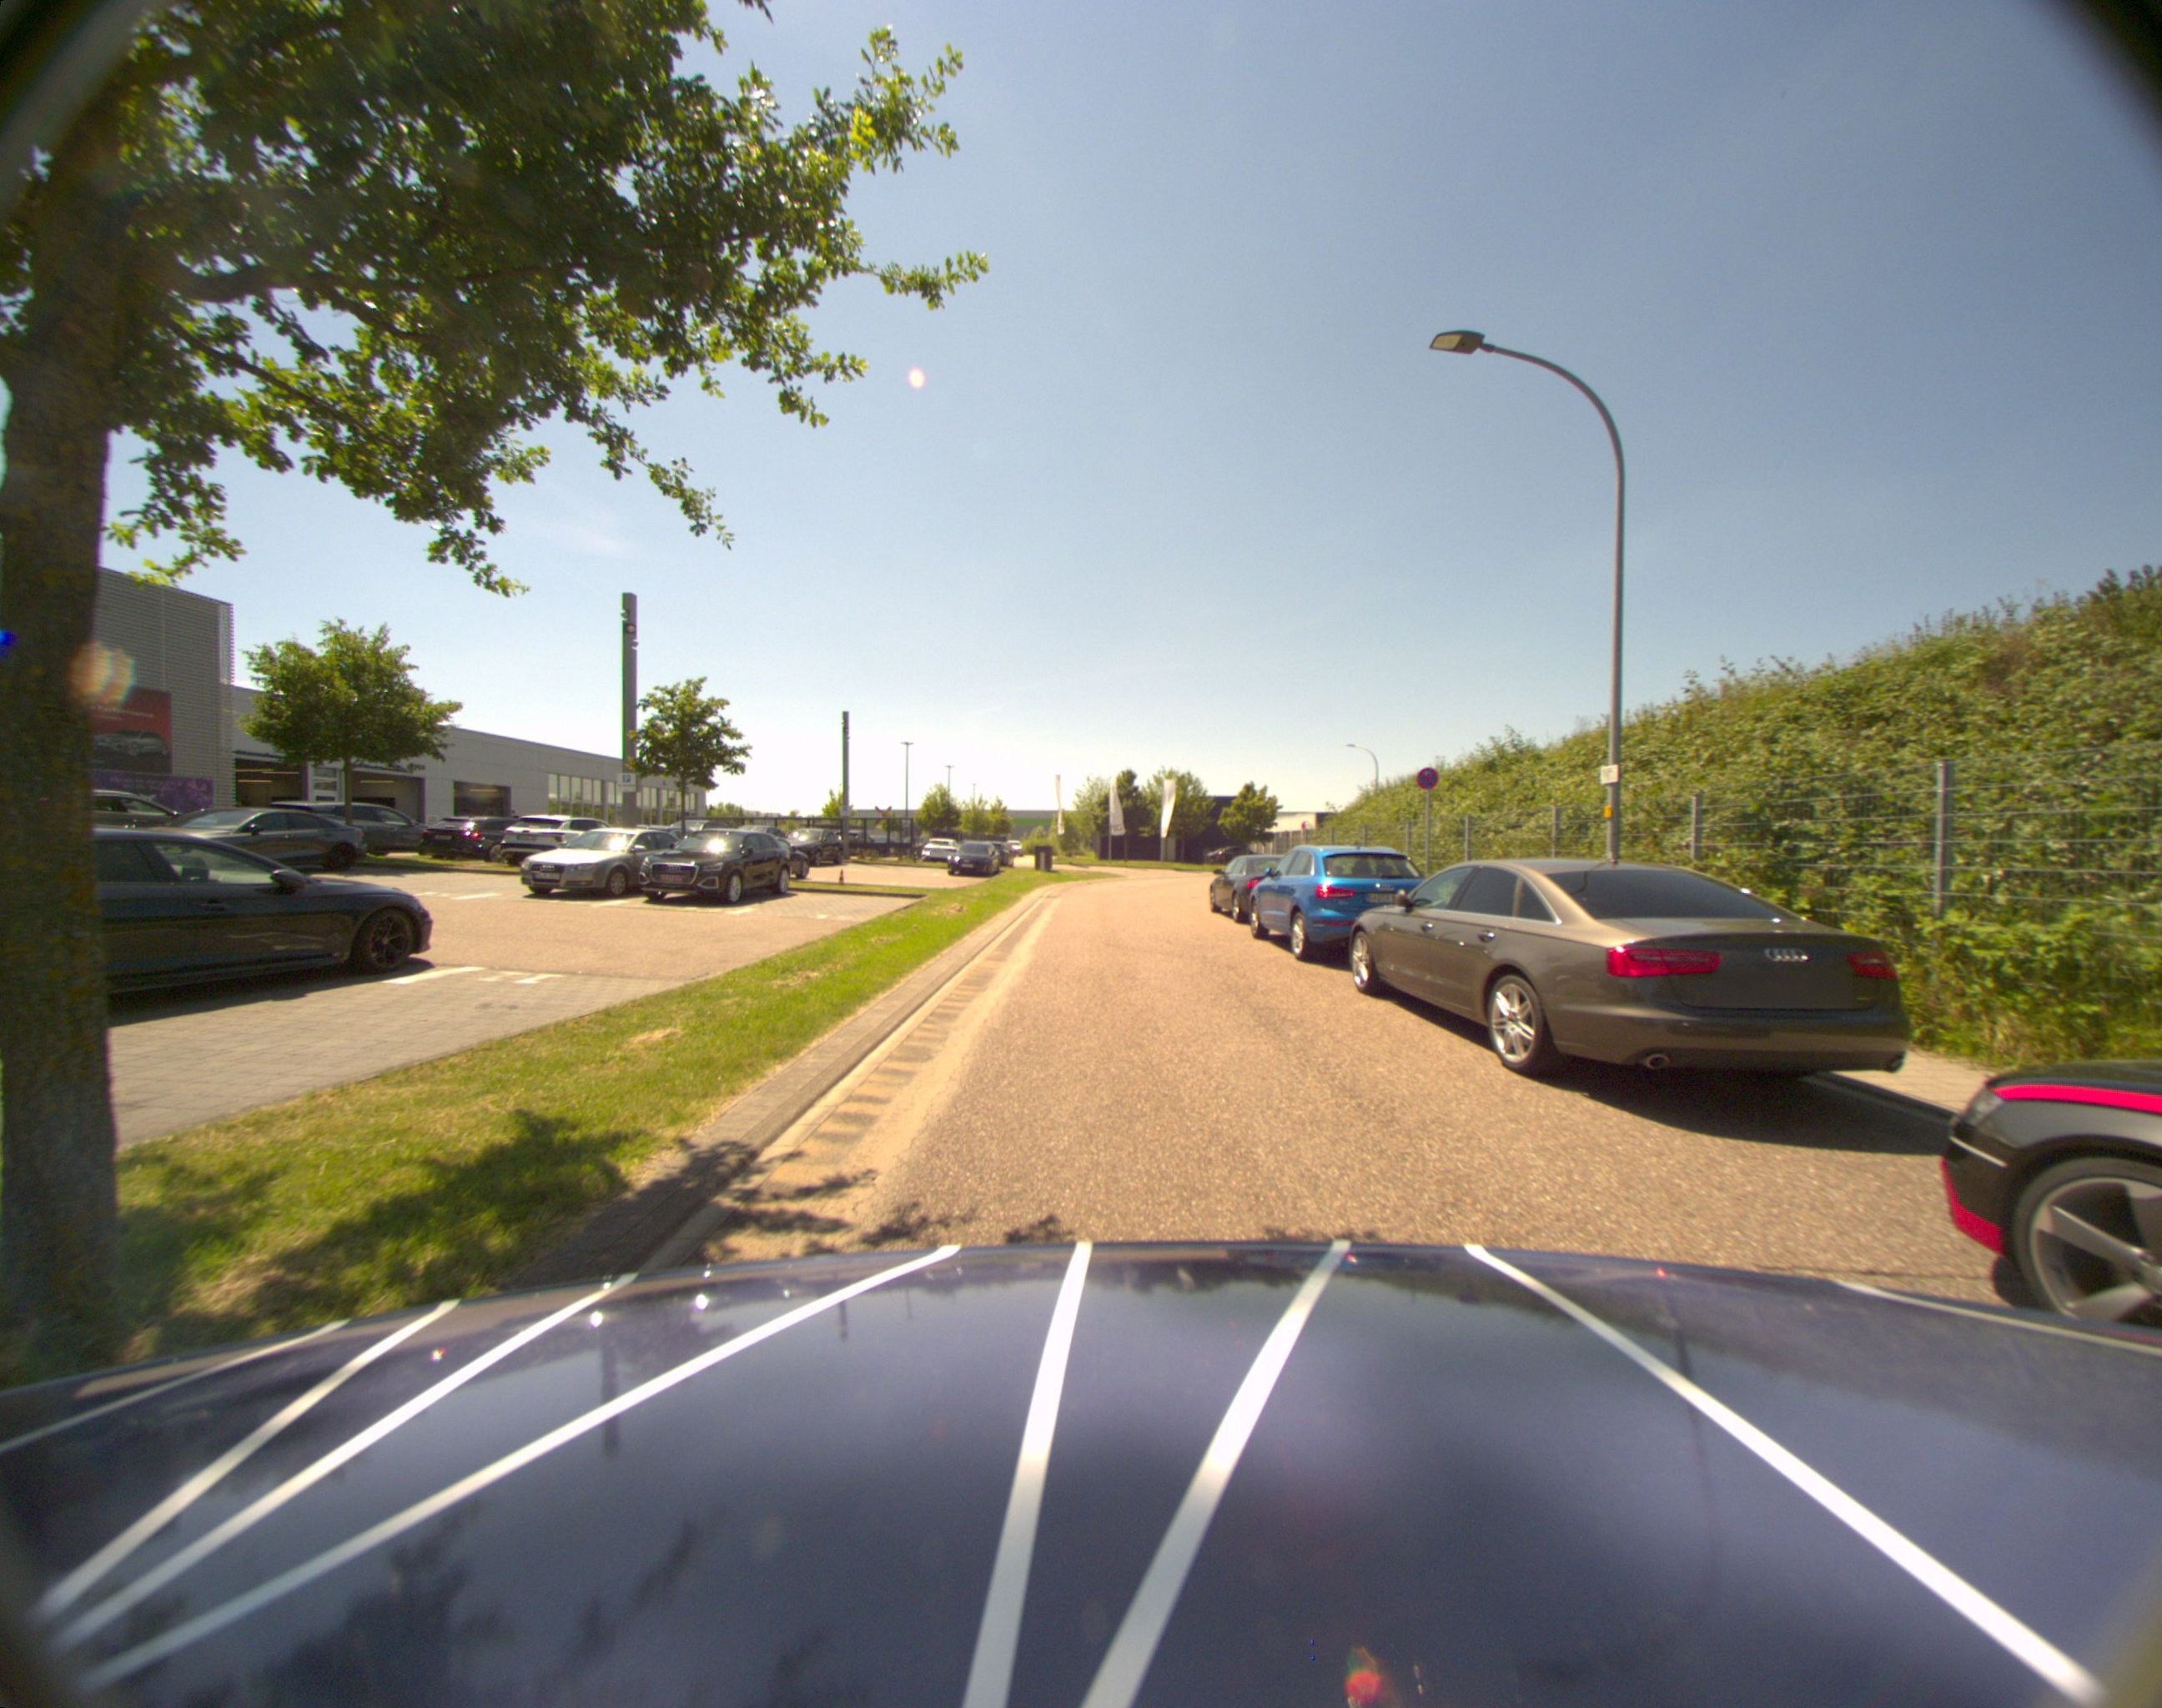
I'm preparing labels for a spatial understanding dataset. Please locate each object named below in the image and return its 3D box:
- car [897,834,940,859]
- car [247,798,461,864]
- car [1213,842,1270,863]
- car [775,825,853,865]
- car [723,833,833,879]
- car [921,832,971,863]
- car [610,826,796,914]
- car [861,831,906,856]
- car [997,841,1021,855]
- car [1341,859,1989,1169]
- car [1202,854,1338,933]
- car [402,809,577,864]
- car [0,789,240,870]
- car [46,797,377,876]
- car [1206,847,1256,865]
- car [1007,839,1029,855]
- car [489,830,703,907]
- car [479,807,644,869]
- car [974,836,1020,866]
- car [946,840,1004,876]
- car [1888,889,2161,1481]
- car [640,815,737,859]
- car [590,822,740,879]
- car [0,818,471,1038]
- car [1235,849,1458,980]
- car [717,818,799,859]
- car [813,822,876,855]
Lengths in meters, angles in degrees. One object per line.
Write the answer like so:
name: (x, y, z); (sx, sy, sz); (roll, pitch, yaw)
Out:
car: (-11.362, -0.520, 53.457); (1.966, 1.620, 4.625); (2, 1, 0)
car: (-21.865, -0.651, 23.191); (1.966, 1.729, 4.728); (2, 1, 0)
car: (13.083, -0.146, 62.175); (4.280, 1.592, 1.780); (-1, 1, 0)
car: (-12.102, -0.439, 34.781); (1.829, 1.634, 4.784); (3, 1, 0)
car: (-10.056, 0.068, 25.647); (1.966, 1.367, 4.311); (2, 0, 0)
car: (-7.344, -0.381, 41.675); (1.824, 1.520, 4.944); (2, 1, 0)
car: (-7.996, 0.273, 16.577); (1.892, 1.562, 4.226); (3, 1, 0)
car: (-13.965, -0.750, 53.943); (1.966, 1.620, 4.625); (2, 1, 0)
car: (-7.145, -0.600, 75.478); (1.779, 1.349, 4.172); (2, 1, 2)
car: (3.784, 0.848, 6.192); (1.829, 1.491, 4.519); (1, 1, 1)
car: (4.001, 0.757, 16.895); (1.829, 1.446, 4.580); (1, 1, 0)
car: (-18.051, -0.530, 23.507); (1.966, 1.468, 4.371); (2, 1, 0)
car: (-22.110, -0.553, 16.798); (1.966, 1.583, 4.427); (3, 1, 3)
car: (-18.214, -0.352, 16.342); (1.966, 1.359, 4.465); (3, 1, 0)
car: (13.652, 0.146, 69.365); (4.169, 1.558, 1.780); (1, 1, 0)
car: (-6.715, -0.786, 81.590); (1.823, 1.637, 4.396); (2, 1, 2)
car: (-10.379, 0.249, 16.738); (1.966, 1.359, 4.226); (3, 1, 0)
car: (-15.354, -0.461, 22.793); (1.966, 1.604, 4.287); (2, 1, 0)
car: (-4.496, -0.189, 41.344); (1.966, 1.459, 4.944); (2, 1, 0)
car: (-4.730, 0.147, 34.511); (1.884, 1.446, 5.023); (3, 1, 0)
car: (3.685, 0.907, 0.354); (1.829, 1.491, 4.519); (1, 1, 1)
car: (-17.772, -0.744, 34.672); (1.966, 1.732, 4.625); (4, 1, 0)
car: (-12.884, -0.123, 23.985); (1.966, 1.544, 5.004); (2, 1, 0)
car: (-7.823, 0.442, 6.090); (1.966, 1.358, 4.721); (3, 0, 1)
car: (3.724, 0.738, 11.603); (1.829, 1.561, 4.385); (1, 1, 0)
car: (-14.727, -0.697, 34.909); (1.829, 1.685, 4.416); (3, 1, 0)
car: (-12.911, -0.841, 41.780); (1.966, 1.620, 4.625); (2, 1, 0)
